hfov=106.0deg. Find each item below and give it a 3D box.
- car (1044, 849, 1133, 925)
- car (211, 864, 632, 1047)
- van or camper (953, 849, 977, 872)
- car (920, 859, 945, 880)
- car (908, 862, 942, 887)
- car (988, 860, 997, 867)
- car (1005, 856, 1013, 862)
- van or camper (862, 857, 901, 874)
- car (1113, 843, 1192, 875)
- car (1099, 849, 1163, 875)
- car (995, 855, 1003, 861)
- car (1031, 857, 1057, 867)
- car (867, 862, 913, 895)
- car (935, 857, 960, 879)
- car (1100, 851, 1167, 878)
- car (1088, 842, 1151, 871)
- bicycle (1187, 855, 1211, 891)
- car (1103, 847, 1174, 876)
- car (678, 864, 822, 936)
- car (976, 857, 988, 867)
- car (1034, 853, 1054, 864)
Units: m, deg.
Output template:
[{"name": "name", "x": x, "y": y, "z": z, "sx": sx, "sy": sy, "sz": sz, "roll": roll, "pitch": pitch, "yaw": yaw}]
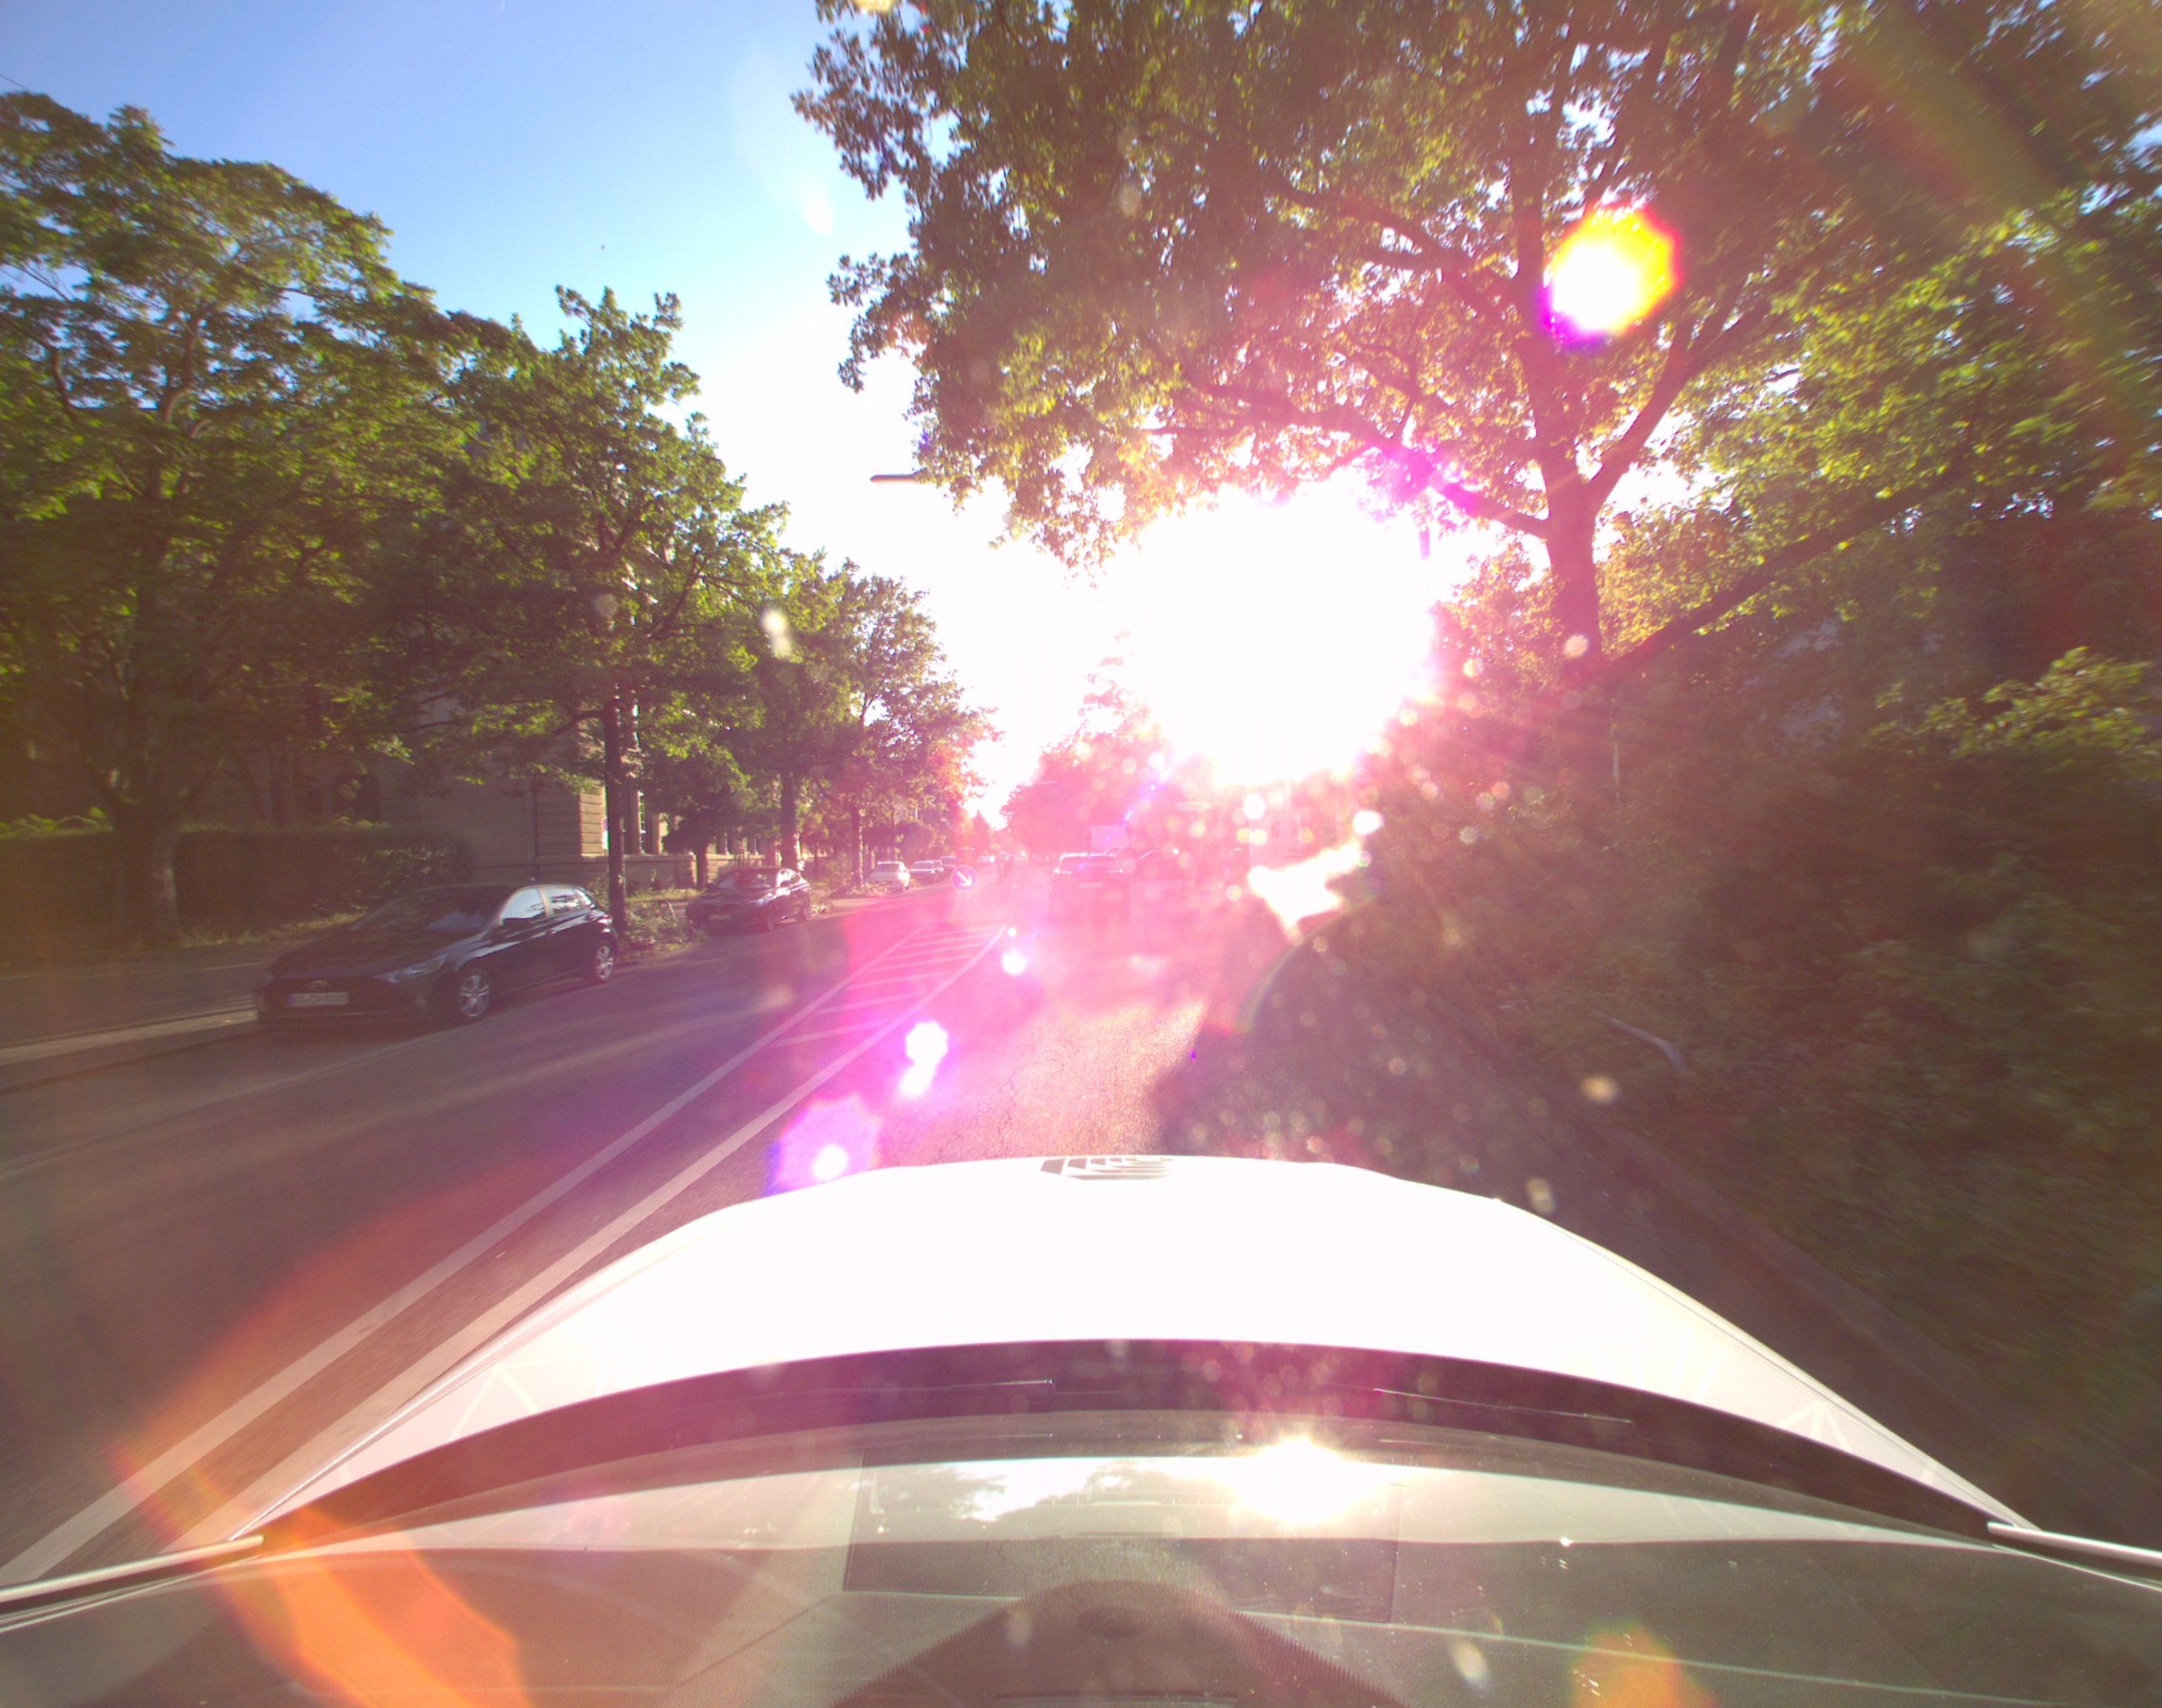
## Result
[{"name": "car", "x": 0.071, "y": 0.686, "z": 19.104, "sx": 1.768, "sy": 1.568, "sz": 4.102, "roll": 0, "pitch": 0, "yaw": -4}, {"name": "car", "x": -7.205, "y": 0.949, "z": 9.582, "sx": 1.777, "sy": 1.616, "sz": 4.140, "roll": -1, "pitch": 0, "yaw": -4}, {"name": "van or camper", "x": -12.868, "y": 0.729, "z": 90.703, "sx": 2.226, "sy": 2.544, "sz": 7.067, "roll": -1, "pitch": -1, "yaw": -5}, {"name": "car", "x": -11.043, "y": 1.132, "z": 60.650, "sx": 1.718, "sy": 1.496, "sz": 4.363, "roll": -1, "pitch": 0, "yaw": -9}, {"name": "car", "x": -10.177, "y": 1.299, "z": 53.365, "sx": 1.615, "sy": 1.496, "sz": 4.370, "roll": -1, "pitch": 0, "yaw": -4}, {"name": "car", "x": -18.346, "y": 1.978, "z": 168.365, "sx": 1.750, "sy": 1.413, "sz": 3.756, "roll": -4, "pitch": 0, "yaw": -6}, {"name": "car", "x": -16.072, "y": 1.123, "z": 182.334, "sx": 1.738, "sy": 1.458, "sz": 4.616, "roll": -3, "pitch": 0, "yaw": -5}, {"name": "van or camper", "x": -27.295, "y": 1.597, "z": 111.508, "sx": 4.757, "sy": 1.985, "sz": 1.999, "roll": -2, "pitch": 4, "yaw": -3}, {"name": "car", "x": 4.229, "y": 0.315, "z": 48.320, "sx": 4.356, "sy": 1.554, "sz": 1.724, "roll": -4, "pitch": 0, "yaw": -6}, {"name": "car", "x": 3.602, "y": 0.592, "z": 59.052, "sx": 4.356, "sy": 1.537, "sz": 1.917, "roll": -4, "pitch": 0, "yaw": -6}, {"name": "car", "x": -21.371, "y": 1.088, "z": 212.944, "sx": 1.896, "sy": 1.574, "sz": 3.993, "roll": -2, "pitch": 0, "yaw": -5}, {"name": "car", "x": -6.496, "y": 1.340, "z": 141.990, "sx": 4.239, "sy": 1.449, "sz": 2.017, "roll": -3, "pitch": 0, "yaw": -7}, {"name": "car", "x": -9.527, "y": 1.200, "z": 40.825, "sx": 1.615, "sy": 1.496, "sz": 3.918, "roll": -1, "pitch": 0, "yaw": -4}, {"name": "car", "x": -11.594, "y": 1.211, "z": 71.048, "sx": 1.774, "sy": 1.866, "sz": 4.326, "roll": 0, "pitch": 0, "yaw": -4}, {"name": "car", "x": 3.608, "y": 0.708, "z": 56.441, "sx": 4.356, "sy": 1.537, "sz": 1.917, "roll": -4, "pitch": 0, "yaw": -6}, {"name": "car", "x": 3.106, "y": 0.204, "z": 66.140, "sx": 4.845, "sy": 1.915, "sz": 1.912, "roll": -4, "pitch": 0, "yaw": -6}, {"name": "bicycle", "x": 4.357, "y": 0.678, "z": 29.942, "sx": 0.488, "sy": 1.148, "sz": 2.295, "roll": -5, "pitch": 0, "yaw": 16}, {"name": "car", "x": 3.729, "y": 0.501, "z": 53.349, "sx": 4.356, "sy": 1.554, "sz": 1.873, "roll": -4, "pitch": 0, "yaw": -6}, {"name": "car", "x": -8.040, "y": 1.042, "z": 20.319, "sx": 1.798, "sy": 1.510, "sz": 4.856, "roll": -1, "pitch": 0, "yaw": -3}, {"name": "car", "x": -15.321, "y": 1.222, "z": 125.894, "sx": 1.612, "sy": 1.515, "sz": 3.704, "roll": -4, "pitch": 0, "yaw": -6}, {"name": "car", "x": -7.967, "y": 0.969, "z": 173.755, "sx": 3.987, "sy": 2.089, "sz": 1.752, "roll": -2, "pitch": -1, "yaw": -10}]
